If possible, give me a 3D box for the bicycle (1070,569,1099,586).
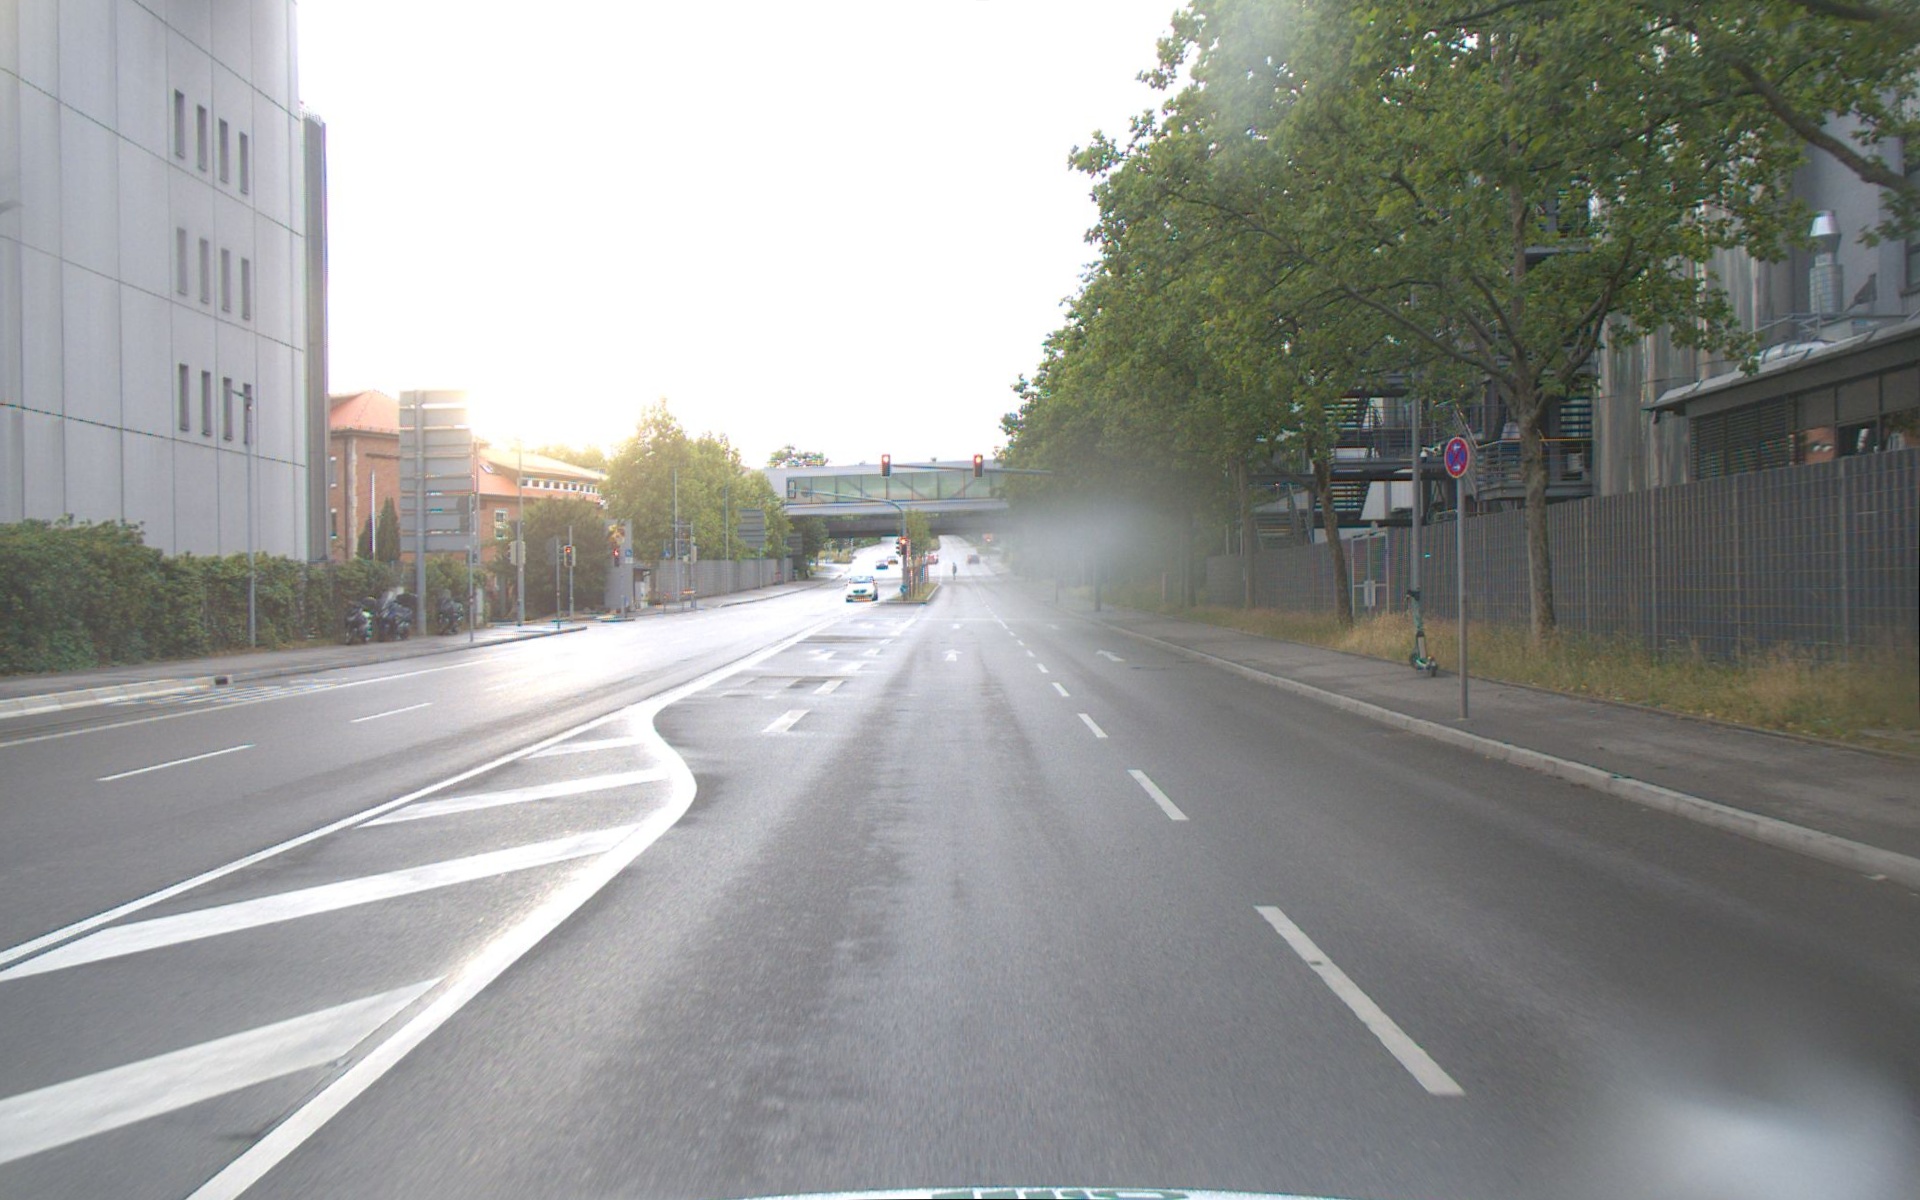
[{"bbox_3d":[8.567,-1.560,113.456,1.949,1.114,0.541,1,0,1],"label":"bicycle"}]

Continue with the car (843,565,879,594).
[{"bbox_3d":[-5.892,-1.223,99.060,1.839,1.652,3.779,-2,1,1],"label":"car"}]

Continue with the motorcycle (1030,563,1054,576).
[{"bbox_3d":[7.960,-2.960,160.578,2.318,1.223,0.723,-2,1,8],"label":"motorcycle"}]

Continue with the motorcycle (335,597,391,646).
[{"bbox_3d":[-16.411,0.583,45.517,0.768,1.272,2.157,-1,1,-1],"label":"motorcycle"}]

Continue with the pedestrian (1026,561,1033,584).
[{"bbox_3d":[6.371,-2.501,151.294,0.609,2.048,0.606,-2,1,1],"label":"pedestrian"}]

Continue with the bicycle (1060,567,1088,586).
[{"bbox_3d":[7.911,-1.640,114.921,1.949,1.237,0.541,1,0,1],"label":"bicycle"}]

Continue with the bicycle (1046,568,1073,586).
[{"bbox_3d":[7.502,-1.721,124.922,1.949,1.352,0.576,1,0,1],"label":"bicycle"}]

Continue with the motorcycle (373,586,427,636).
[{"bbox_3d":[-16.268,0.301,48.126,0.768,1.371,2.370,-1,1,-1],"label":"motorcycle"}]

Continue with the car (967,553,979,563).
[{"bbox_3d":[2.076,-6.632,260.973,1.836,1.523,4.068,1,0,1],"label":"car"}]

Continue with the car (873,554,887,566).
[{"bbox_3d":[-11.908,-5.969,246.264,1.839,1.652,3.779,-2,1,1],"label":"car"}]

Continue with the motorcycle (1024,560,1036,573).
[{"bbox_3d":[7.586,-3.659,179.519,0.775,1.334,2.372,-2,1,-8],"label":"motorcycle"}]

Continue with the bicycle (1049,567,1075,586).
[{"bbox_3d":[7.782,-1.783,126.597,1.949,1.455,0.723,1,0,1],"label":"bicycle"}]

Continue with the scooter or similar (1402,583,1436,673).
[{"bbox_3d":[6.757,0.397,24.380,0.321,1.291,1.110,-1,0,8],"label":"scooter or similar"}]

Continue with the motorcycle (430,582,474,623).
[{"bbox_3d":[-16.445,0.063,53.580,0.768,1.269,2.157,-1,1,-1],"label":"motorcycle"}]

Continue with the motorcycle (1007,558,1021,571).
[{"bbox_3d":[6.008,-3.953,184.395,0.778,1.334,2.365,-2,1,-17],"label":"motorcycle"}]
